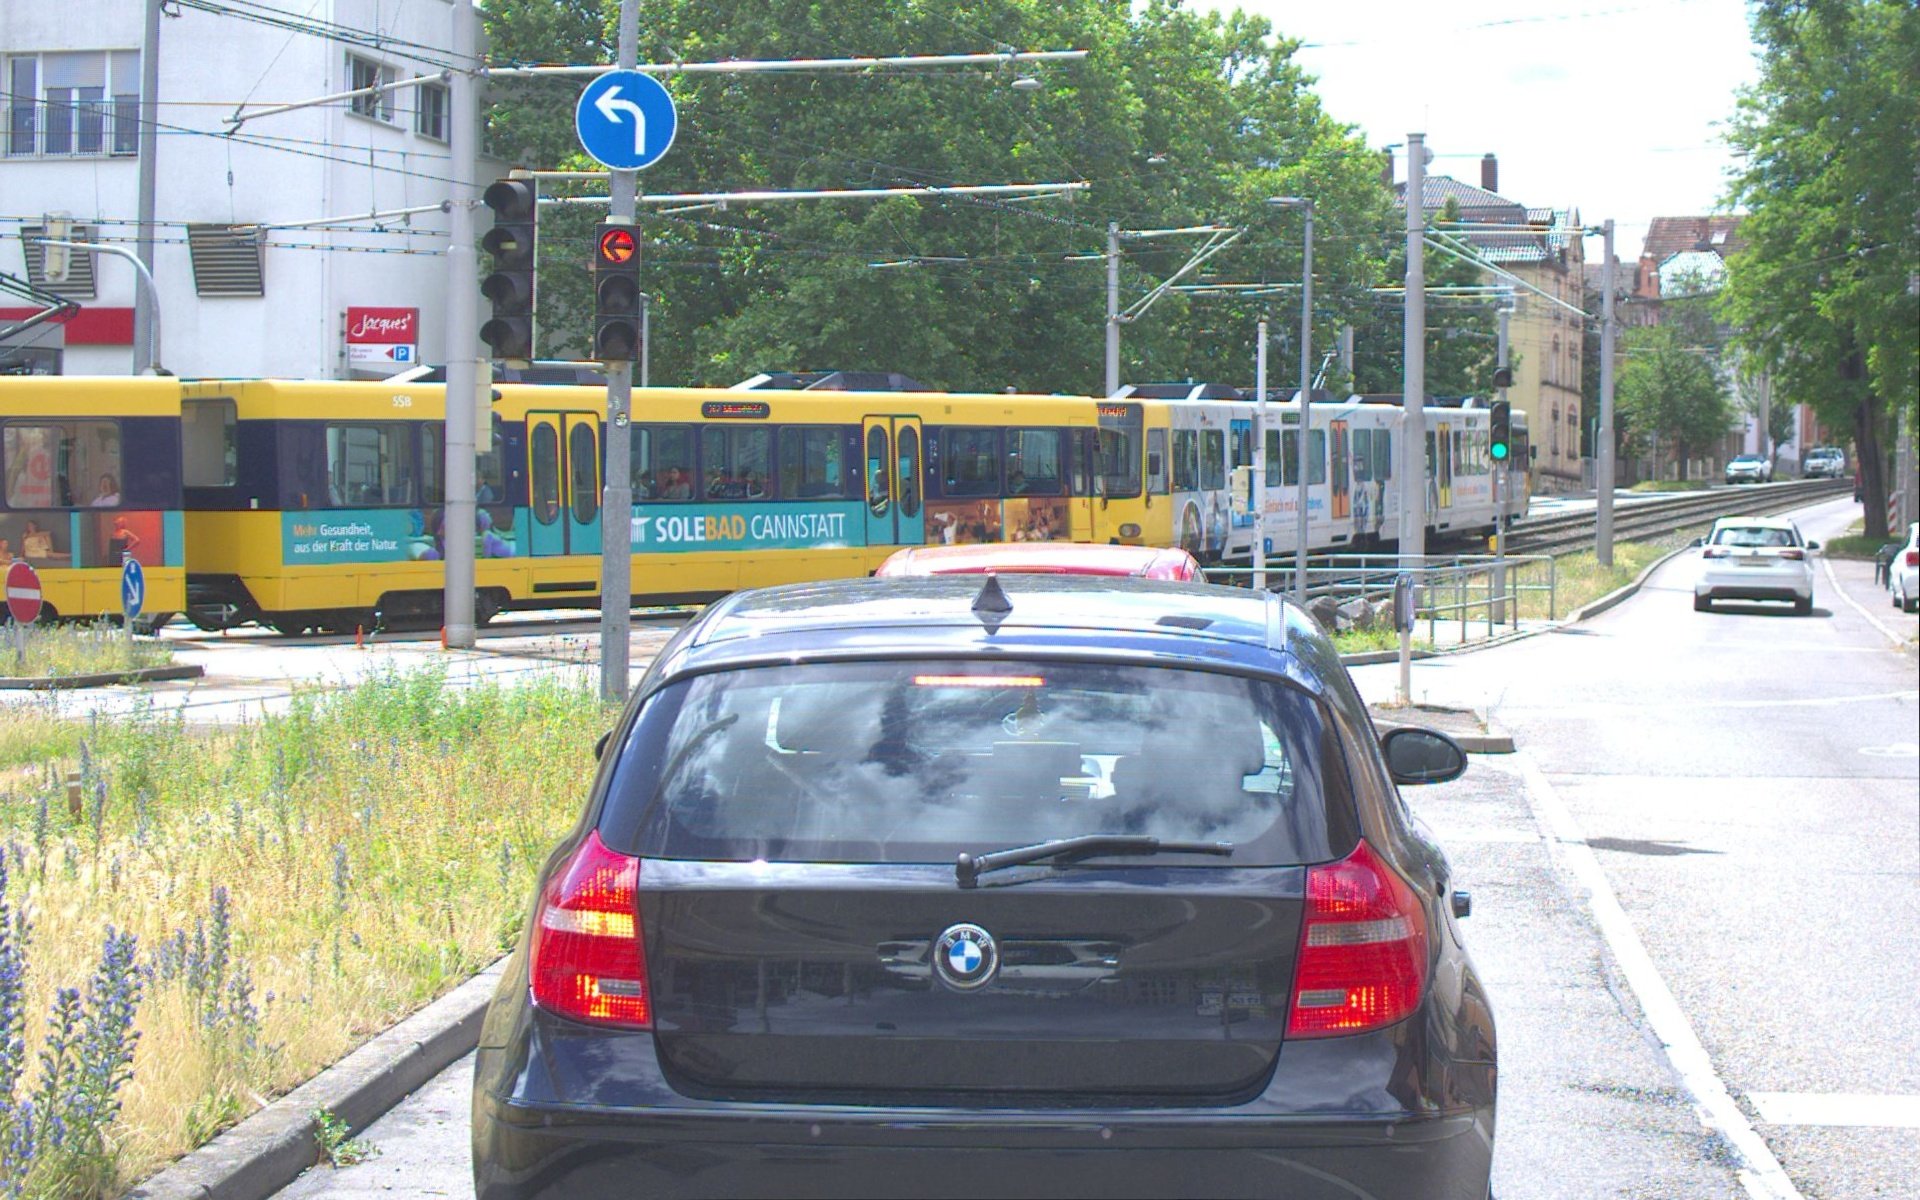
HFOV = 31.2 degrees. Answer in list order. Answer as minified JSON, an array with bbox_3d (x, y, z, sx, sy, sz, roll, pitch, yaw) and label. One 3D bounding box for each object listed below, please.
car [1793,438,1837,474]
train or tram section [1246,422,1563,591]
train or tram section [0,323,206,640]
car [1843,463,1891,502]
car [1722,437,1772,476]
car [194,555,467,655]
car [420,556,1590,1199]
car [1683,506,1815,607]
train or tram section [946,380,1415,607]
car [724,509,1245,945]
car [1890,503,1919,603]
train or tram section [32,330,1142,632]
[{"bbox_3d":[51.520,-8.680,207.129,1.996,2.007,3.995,-1,0,22],"label":"car"},{"bbox_3d":[11.798,-2.248,88.107,3.753,3.801,20.031,-1,0,20],"label":"train or tram section"},{"bbox_3d":[-18.702,-1.336,40.600,18.833,3.905,3.762,-1,0,-30],"label":"train or tram section"},{"bbox_3d":[37.029,-4.791,140.353,1.816,1.463,3.997,3,2,15],"label":"car"},{"bbox_3d":[43.028,-7.825,187.950,1.996,2.007,3.995,-1,0,22],"label":"car"},{"bbox_3d":[-10.584,0.066,57.957,4.158,1.579,1.858,-1,1,-43],"label":"car"},{"bbox_3d":[0.004,0.658,7.036,1.701,1.447,4.000,-1,0,-2],"label":"car"},{"bbox_3d":[12.482,-0.718,54.588,1.816,1.463,3.999,2,2,10],"label":"car"},{"bbox_3d":[5.071,-1.958,69.482,3.753,3.866,20.615,-1,0,20],"label":"train or tram section"},{"bbox_3d":[0.242,0.419,13.673,1.625,1.468,3.999,-1,0,7],"label":"car"},{"bbox_3d":[16.284,-0.777,56.508,1.788,1.590,3.998,-1,0,14],"label":"car"},{"bbox_3d":[-4.618,-1.649,52.522,3.757,3.816,20.104,-1,1,38],"label":"train or tram section"}]
